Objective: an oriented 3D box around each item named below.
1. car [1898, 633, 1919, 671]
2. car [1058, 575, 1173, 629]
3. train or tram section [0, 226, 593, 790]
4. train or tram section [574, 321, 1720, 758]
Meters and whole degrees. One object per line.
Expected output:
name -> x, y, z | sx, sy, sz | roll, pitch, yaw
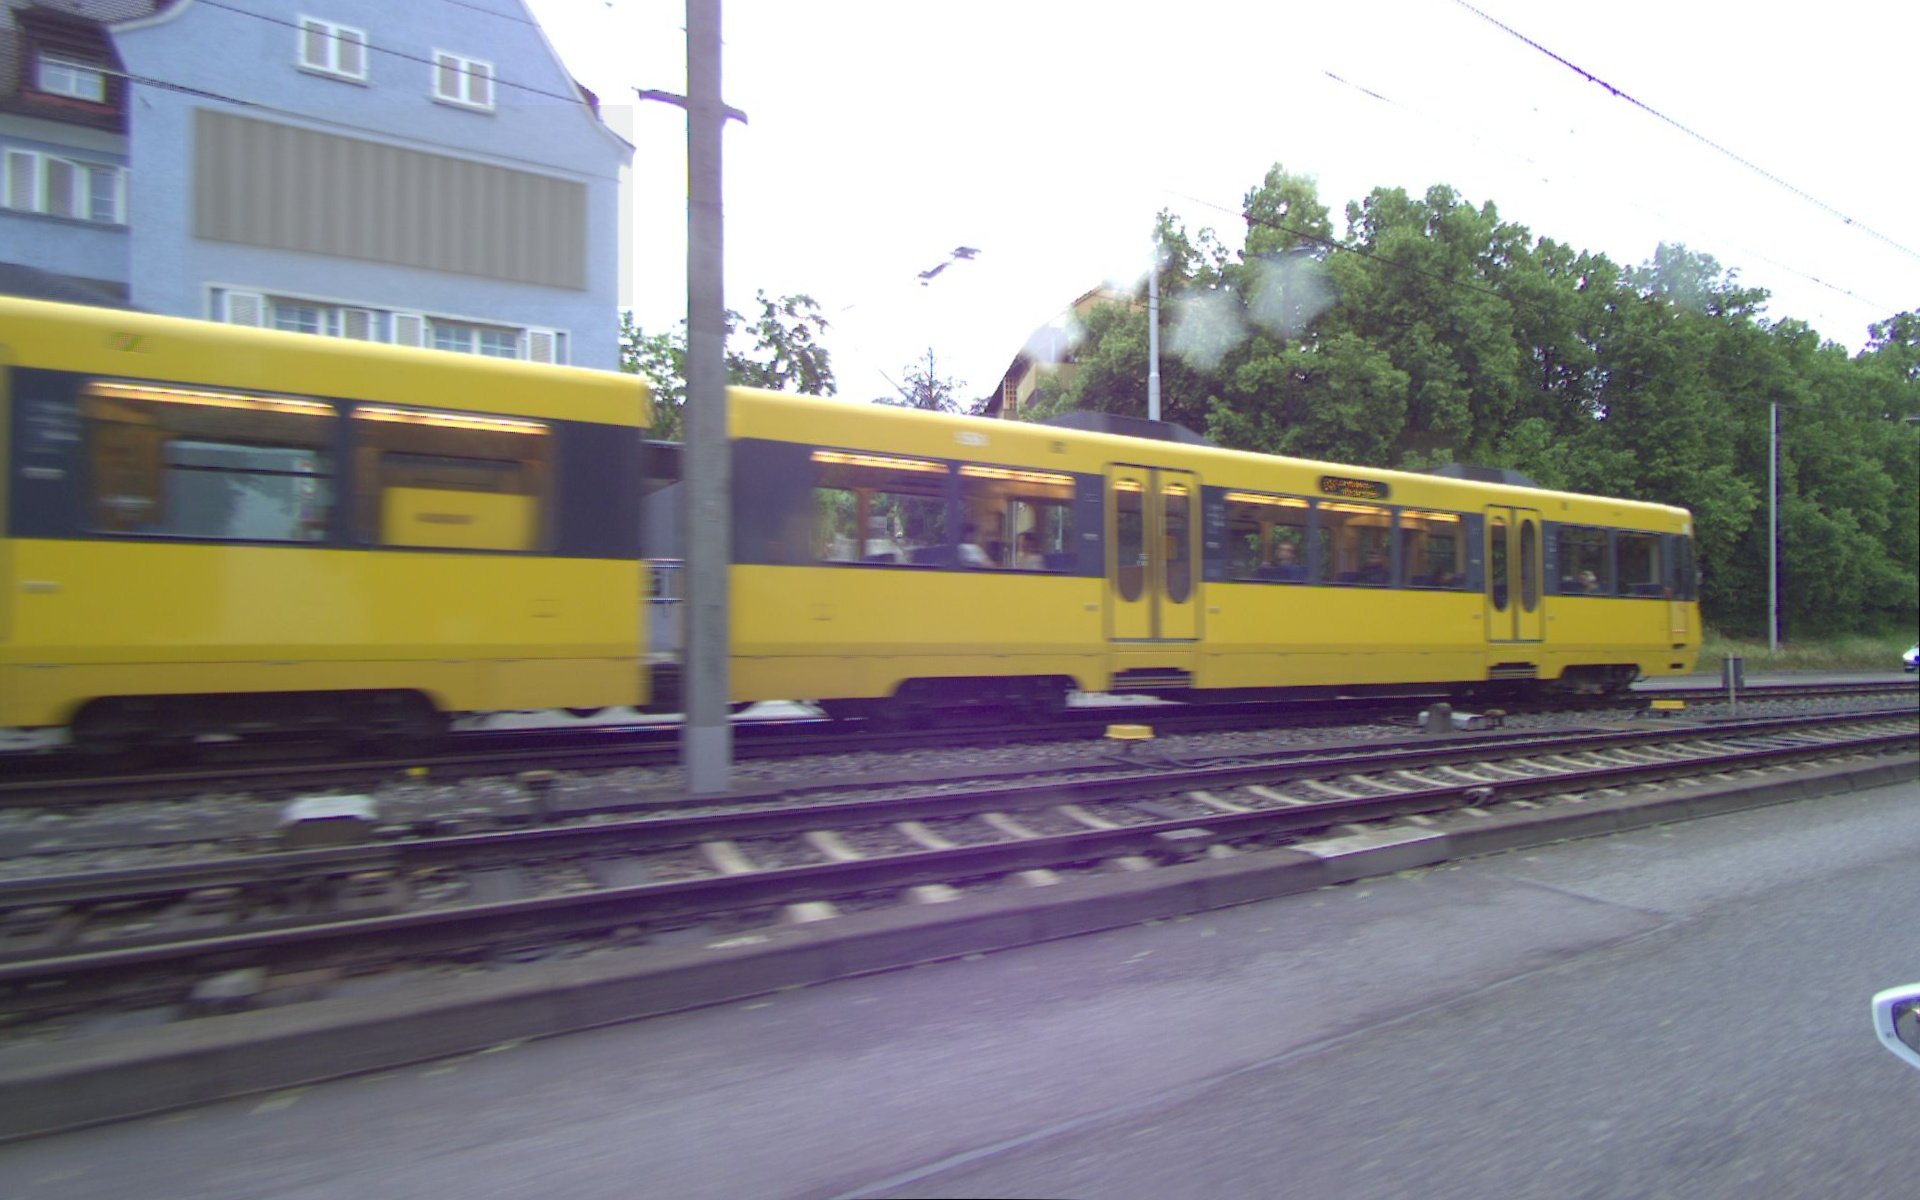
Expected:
car -> 42.001, 2.224, 42.889 | 4.328, 1.550, 1.645 | 1, -1, -30
car -> 6.213, 0.104, 40.283 | 4.145, 2.040, 1.962 | 1, -1, -14
train or tram section -> -12.143, -0.690, 5.451 | 18.864, 3.861, 2.955 | 1, 0, -29
train or tram section -> 4.718, -0.420, 14.882 | 19.280, 3.861, 2.955 | 1, 0, -29
